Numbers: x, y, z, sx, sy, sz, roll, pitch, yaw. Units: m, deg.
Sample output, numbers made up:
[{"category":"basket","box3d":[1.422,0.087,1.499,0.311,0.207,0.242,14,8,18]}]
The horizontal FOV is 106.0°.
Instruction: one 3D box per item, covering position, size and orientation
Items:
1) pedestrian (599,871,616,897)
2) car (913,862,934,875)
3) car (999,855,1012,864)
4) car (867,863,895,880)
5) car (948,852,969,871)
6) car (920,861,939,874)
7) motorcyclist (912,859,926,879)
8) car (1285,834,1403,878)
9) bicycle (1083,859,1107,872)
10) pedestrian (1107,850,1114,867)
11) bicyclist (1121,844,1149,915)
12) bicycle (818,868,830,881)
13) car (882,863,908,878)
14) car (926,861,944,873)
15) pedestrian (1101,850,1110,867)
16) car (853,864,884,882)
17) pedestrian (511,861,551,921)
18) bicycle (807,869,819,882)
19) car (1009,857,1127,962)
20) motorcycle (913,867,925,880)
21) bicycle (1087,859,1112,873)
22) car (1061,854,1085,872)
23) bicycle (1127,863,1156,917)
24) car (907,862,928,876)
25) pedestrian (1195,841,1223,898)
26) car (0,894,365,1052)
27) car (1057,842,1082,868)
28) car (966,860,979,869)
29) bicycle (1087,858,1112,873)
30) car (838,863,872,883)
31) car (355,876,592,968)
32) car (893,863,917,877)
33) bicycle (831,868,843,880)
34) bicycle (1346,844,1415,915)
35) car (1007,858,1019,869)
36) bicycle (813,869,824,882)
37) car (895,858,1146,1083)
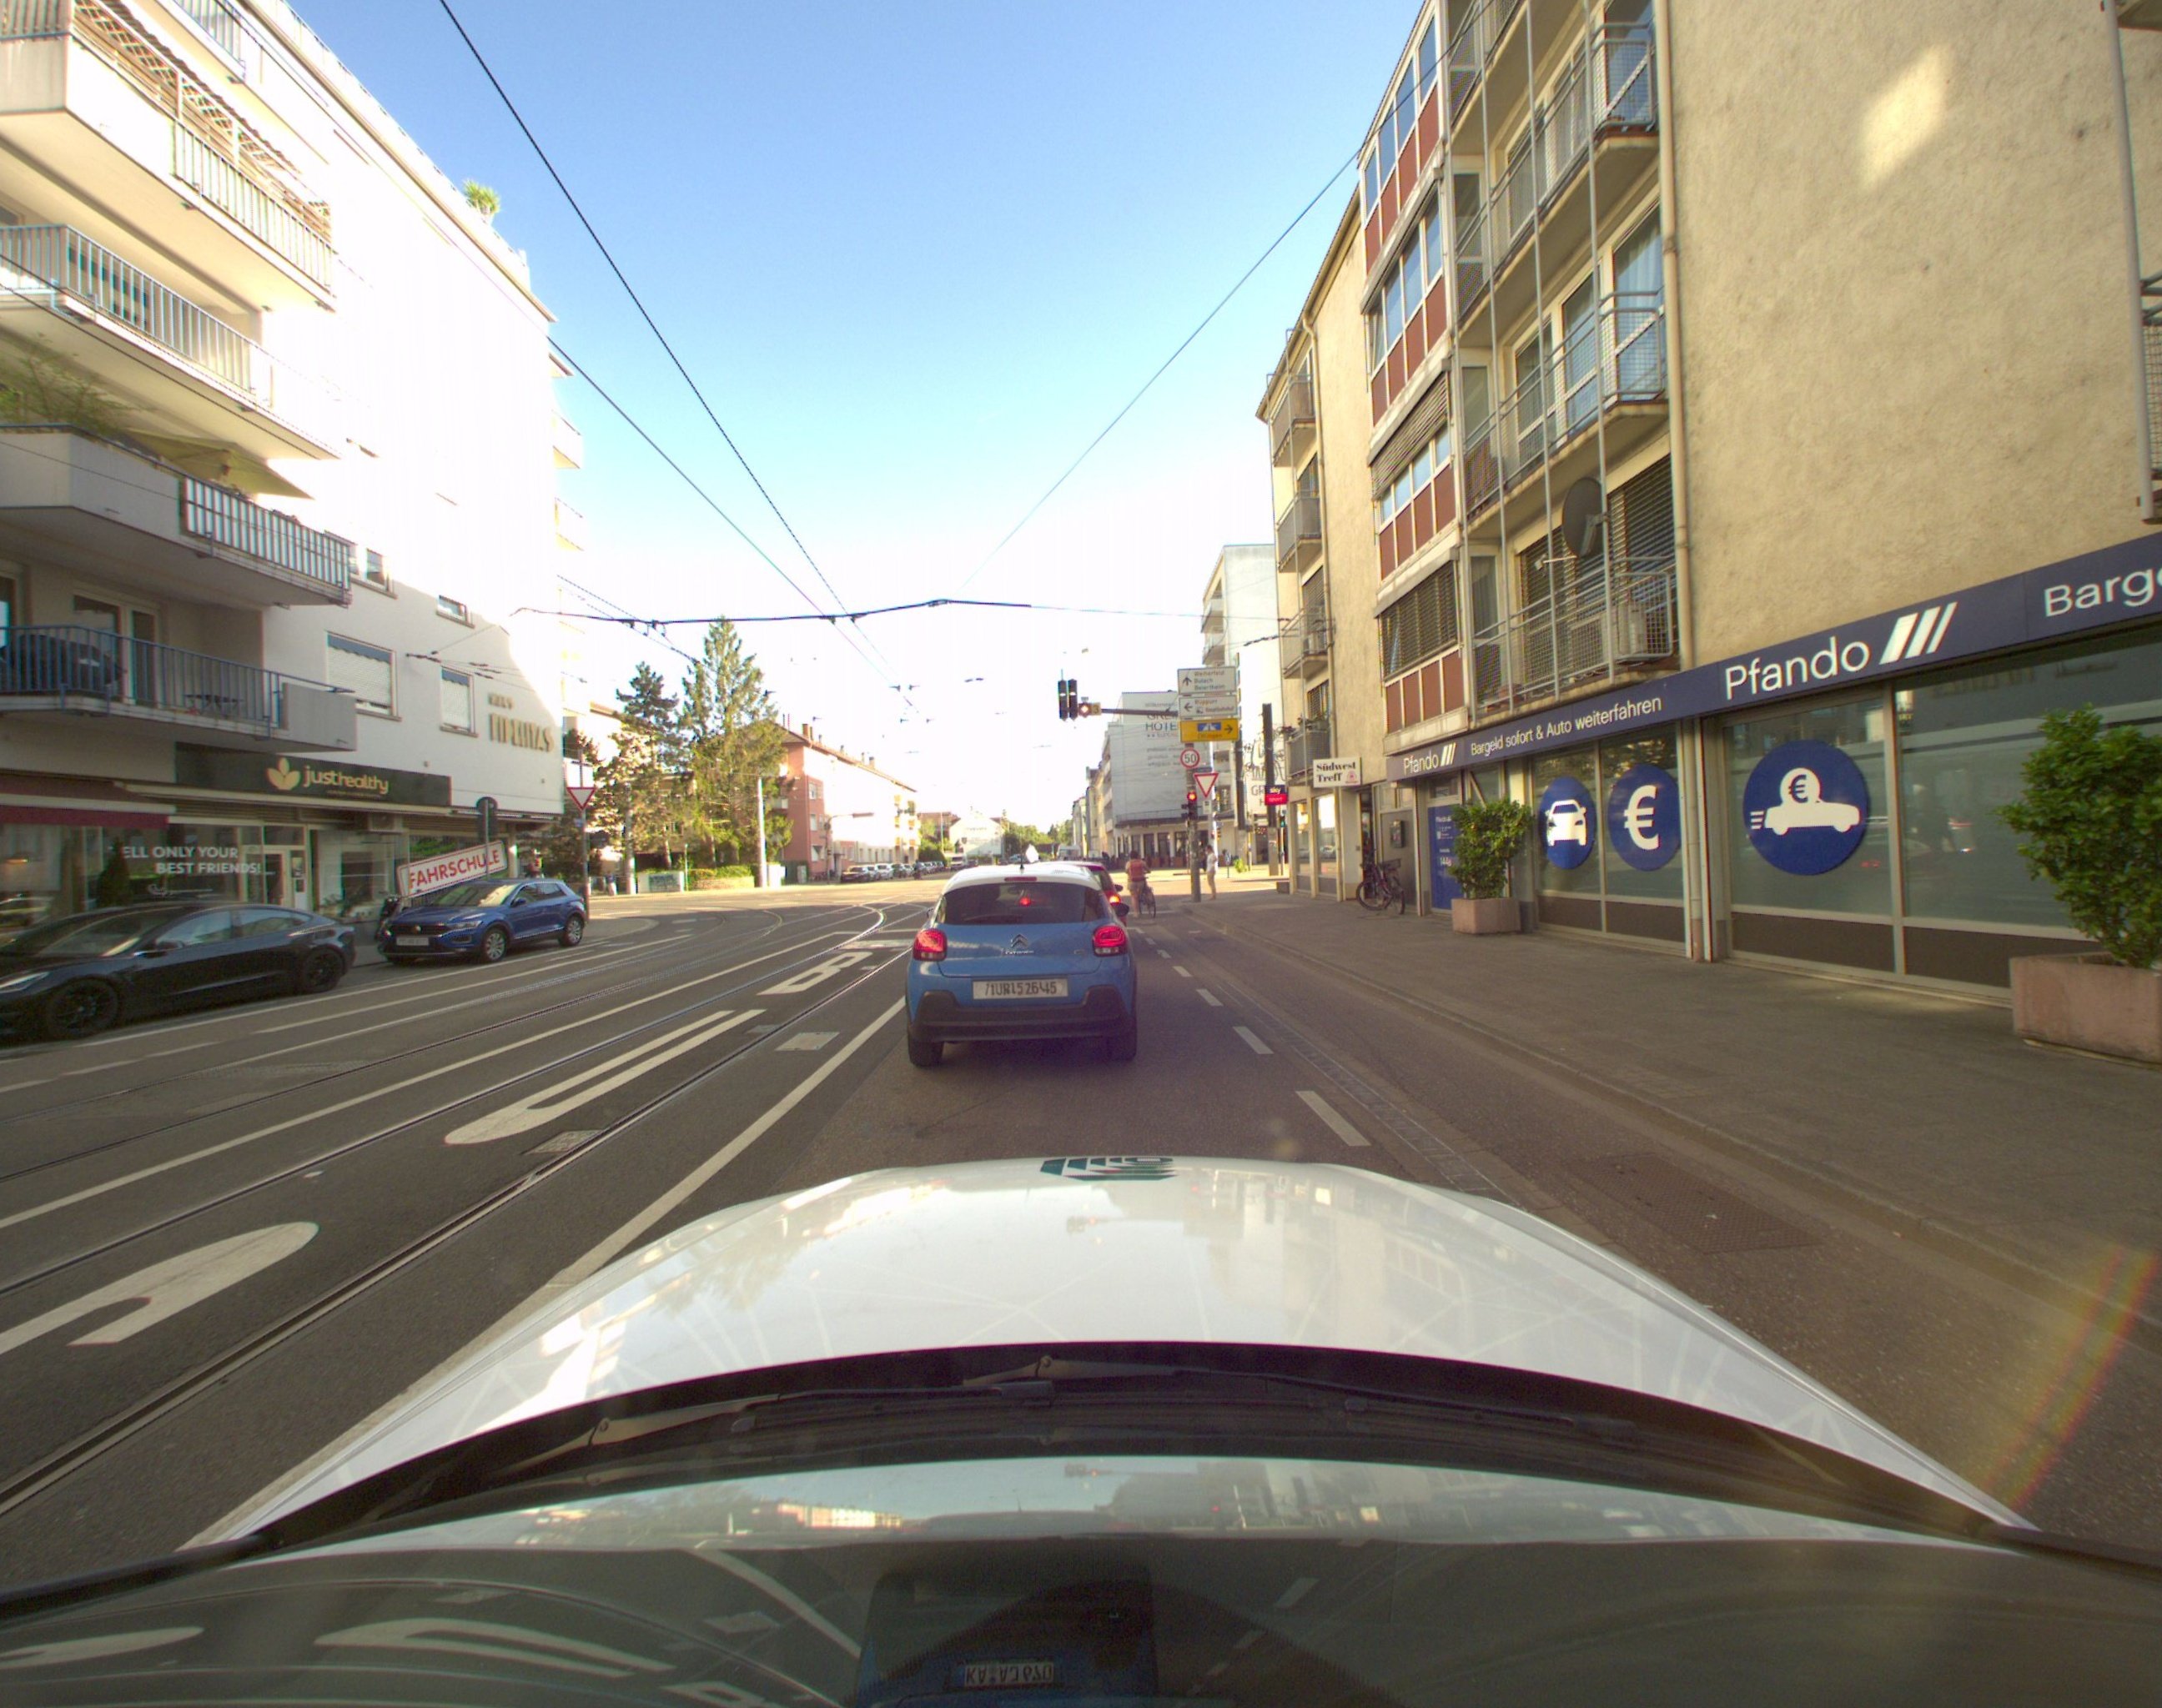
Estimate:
[{"category":"pedestrian","box3d":[-32.391,2.057,55.708,0.810,1.702,0.677,-2,0,-15]},{"category":"car","box3d":[-20.101,1.803,104.050,1.947,1.519,3.995,-2,0,-4]},{"category":"car","box3d":[-13.242,0.955,143.055,2.002,1.627,5.044,-2,0,-5]},{"category":"car","box3d":[-19.564,1.686,79.866,1.947,1.519,3.995,-2,0,-4]},{"category":"car","box3d":[-18.130,1.107,120.587,2.489,2.712,5.828,-2,0,-5]},{"category":"car","box3d":[-20.302,1.776,109.338,1.947,1.519,3.995,-2,0,-4]},{"category":"motorcyclist","box3d":[-13.478,1.271,67.704,0.990,1.631,0.737,-2,0,-7]},{"category":"car","box3d":[11.354,0.075,35.324,4.524,1.684,1.790,-2,0,-3]},{"category":"bicycle","box3d":[1.156,0.954,68.455,1.901,1.064,0.641,-2,0,-6]},{"category":"pedestrian","box3d":[2.520,0.381,70.128,0.467,1.420,0.524,-2,0,-11]},{"category":"bicyclist","box3d":[1.365,0.632,20.704,0.598,1.746,1.084,-2,0,2]},{"category":"bicycle","box3d":[-23.054,1.844,73.117,0.536,1.082,1.908,-2,0,-4]},{"category":"car","box3d":[-19.733,1.742,86.539,1.947,1.519,3.995,-2,0,-4]},{"category":"car","box3d":[-20.729,1.856,115.694,1.947,1.519,3.995,-2,0,-4]},{"category":"pedestrian","box3d":[2.099,0.397,70.390,0.520,1.420,0.550,-3,0,22]},{"category":"car","box3d":[-19.575,1.720,75.254,1.947,1.519,4.040,-2,0,-4]},{"category":"pedestrian","box3d":[-17.291,1.169,25.607,0.761,1.834,0.725,-3,0,28]},{"category":"bicycle","box3d":[-22.384,1.795,68.088,0.640,1.082,1.905,-2,0,-9]},{"category":"car","box3d":[-0.231,0.809,13.719,1.675,1.462,3.997,-1,0,-2]},{"category":"motorcycle","box3d":[-13.488,1.599,67.772,0.751,0.976,2.092,-2,0,-7]},{"category":"bicycle","box3d":[1.521,0.962,67.252,1.901,1.064,0.641,-2,0,-6]},{"category":"car","box3d":[-0.720,0.743,67.997,1.783,1.359,3.909,-2,0,-4]},{"category":"bicycle","box3d":[1.528,0.886,20.737,0.611,1.264,1.911,-2,0,2]},{"category":"car","box3d":[-19.855,1.788,99.036,1.947,1.519,3.995,-2,0,-4]},{"category":"pedestrian","box3d":[3.835,0.453,24.426,0.747,1.635,0.742,-2,0,7]},{"category":"car","box3d":[-11.988,1.329,10.433,1.720,1.403,4.486,0,0,-2]},{"category":"car","box3d":[-1.043,0.088,73.458,2.074,2.269,5.647,-1,0,-2]},{"category":"car","box3d":[-19.341,1.821,145.255,1.947,1.519,3.995,-2,0,-4]},{"category":"bicycle","box3d":[1.512,0.932,65.946,1.901,1.064,0.641,-2,0,-6]},{"category":"car","box3d":[-19.294,1.602,69.631,1.947,1.519,3.995,-2,0,-4]},{"category":"car","box3d":[-11.883,1.243,16.336,1.720,1.505,4.113,0,0,-2]},{"category":"car","box3d":[-19.985,1.793,92.607,1.947,1.519,3.995,-2,0,-4]},{"category":"bicycle","box3d":[-22.720,1.862,75.813,0.608,1.082,1.908,-2,0,-4]},{"category":"bicycle","box3d":[5.754,0.456,15.750,0.637,1.264,1.911,-2,0,2]},{"category":"car","box3d":[-14.269,1.986,171.421,2.333,2.039,5.044,-2,0,-4]},{"category":"bicycle","box3d":[-21.978,1.796,68.198,0.537,1.082,1.905,-2,0,-9]},{"category":"car","box3d":[-0.456,0.789,7.510,1.675,1.462,3.997,-1,0,-2]}]
